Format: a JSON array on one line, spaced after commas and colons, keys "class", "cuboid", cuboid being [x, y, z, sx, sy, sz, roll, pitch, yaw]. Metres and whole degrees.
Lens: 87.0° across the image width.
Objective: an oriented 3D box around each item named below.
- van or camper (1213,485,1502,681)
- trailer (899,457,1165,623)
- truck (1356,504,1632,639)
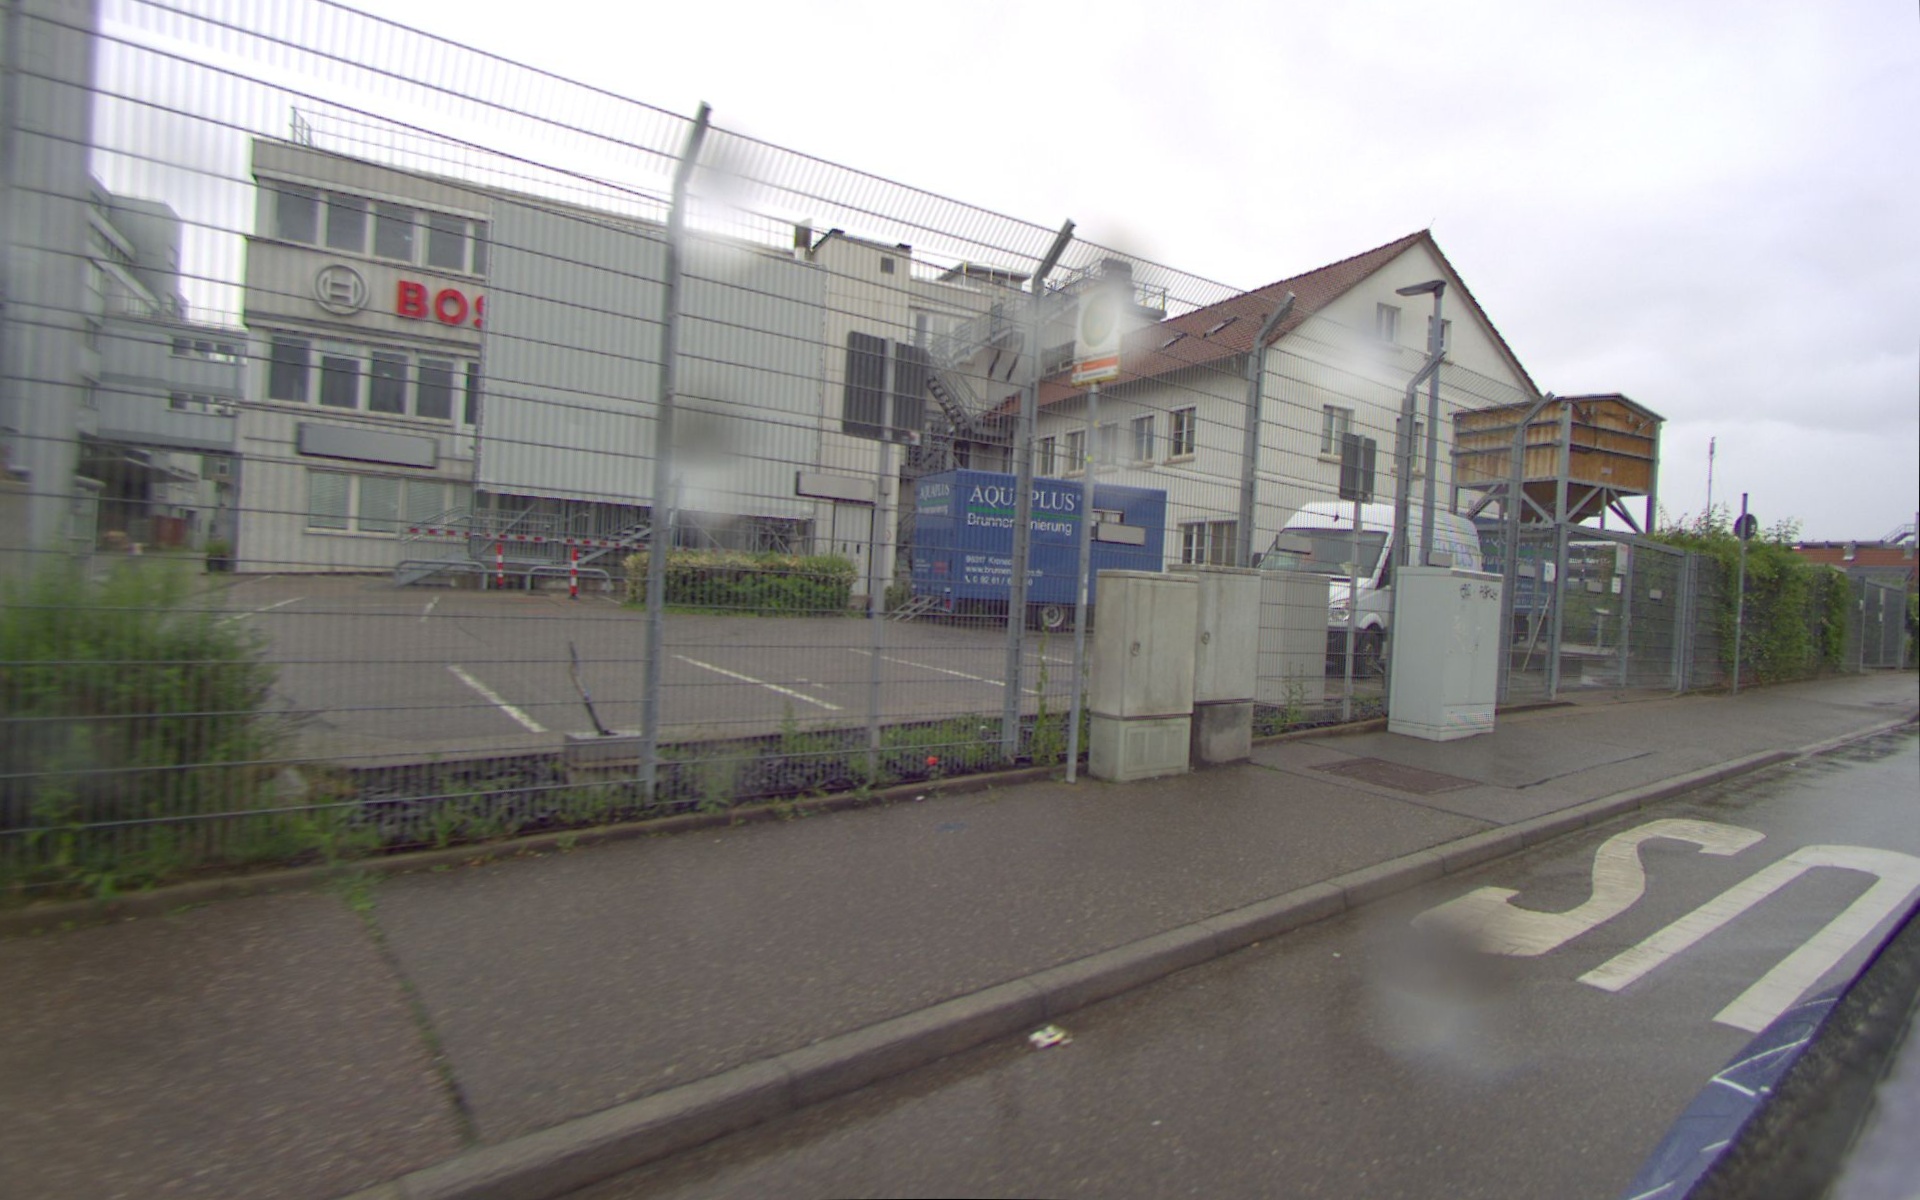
[{"class": "van or camper", "cuboid": [6.409, -0.300, 15.848, 2.085, 2.525, 5.713, 5, 4, 44]}, {"class": "trailer", "cuboid": [1.375, -1.092, 19.981, 4.534, 2.928, 2.641, 0, 0, -22]}, {"class": "truck", "cuboid": [13.314, -0.655, 25.101, 6.985, 3.005, 2.332, 1, 2, -27]}]
